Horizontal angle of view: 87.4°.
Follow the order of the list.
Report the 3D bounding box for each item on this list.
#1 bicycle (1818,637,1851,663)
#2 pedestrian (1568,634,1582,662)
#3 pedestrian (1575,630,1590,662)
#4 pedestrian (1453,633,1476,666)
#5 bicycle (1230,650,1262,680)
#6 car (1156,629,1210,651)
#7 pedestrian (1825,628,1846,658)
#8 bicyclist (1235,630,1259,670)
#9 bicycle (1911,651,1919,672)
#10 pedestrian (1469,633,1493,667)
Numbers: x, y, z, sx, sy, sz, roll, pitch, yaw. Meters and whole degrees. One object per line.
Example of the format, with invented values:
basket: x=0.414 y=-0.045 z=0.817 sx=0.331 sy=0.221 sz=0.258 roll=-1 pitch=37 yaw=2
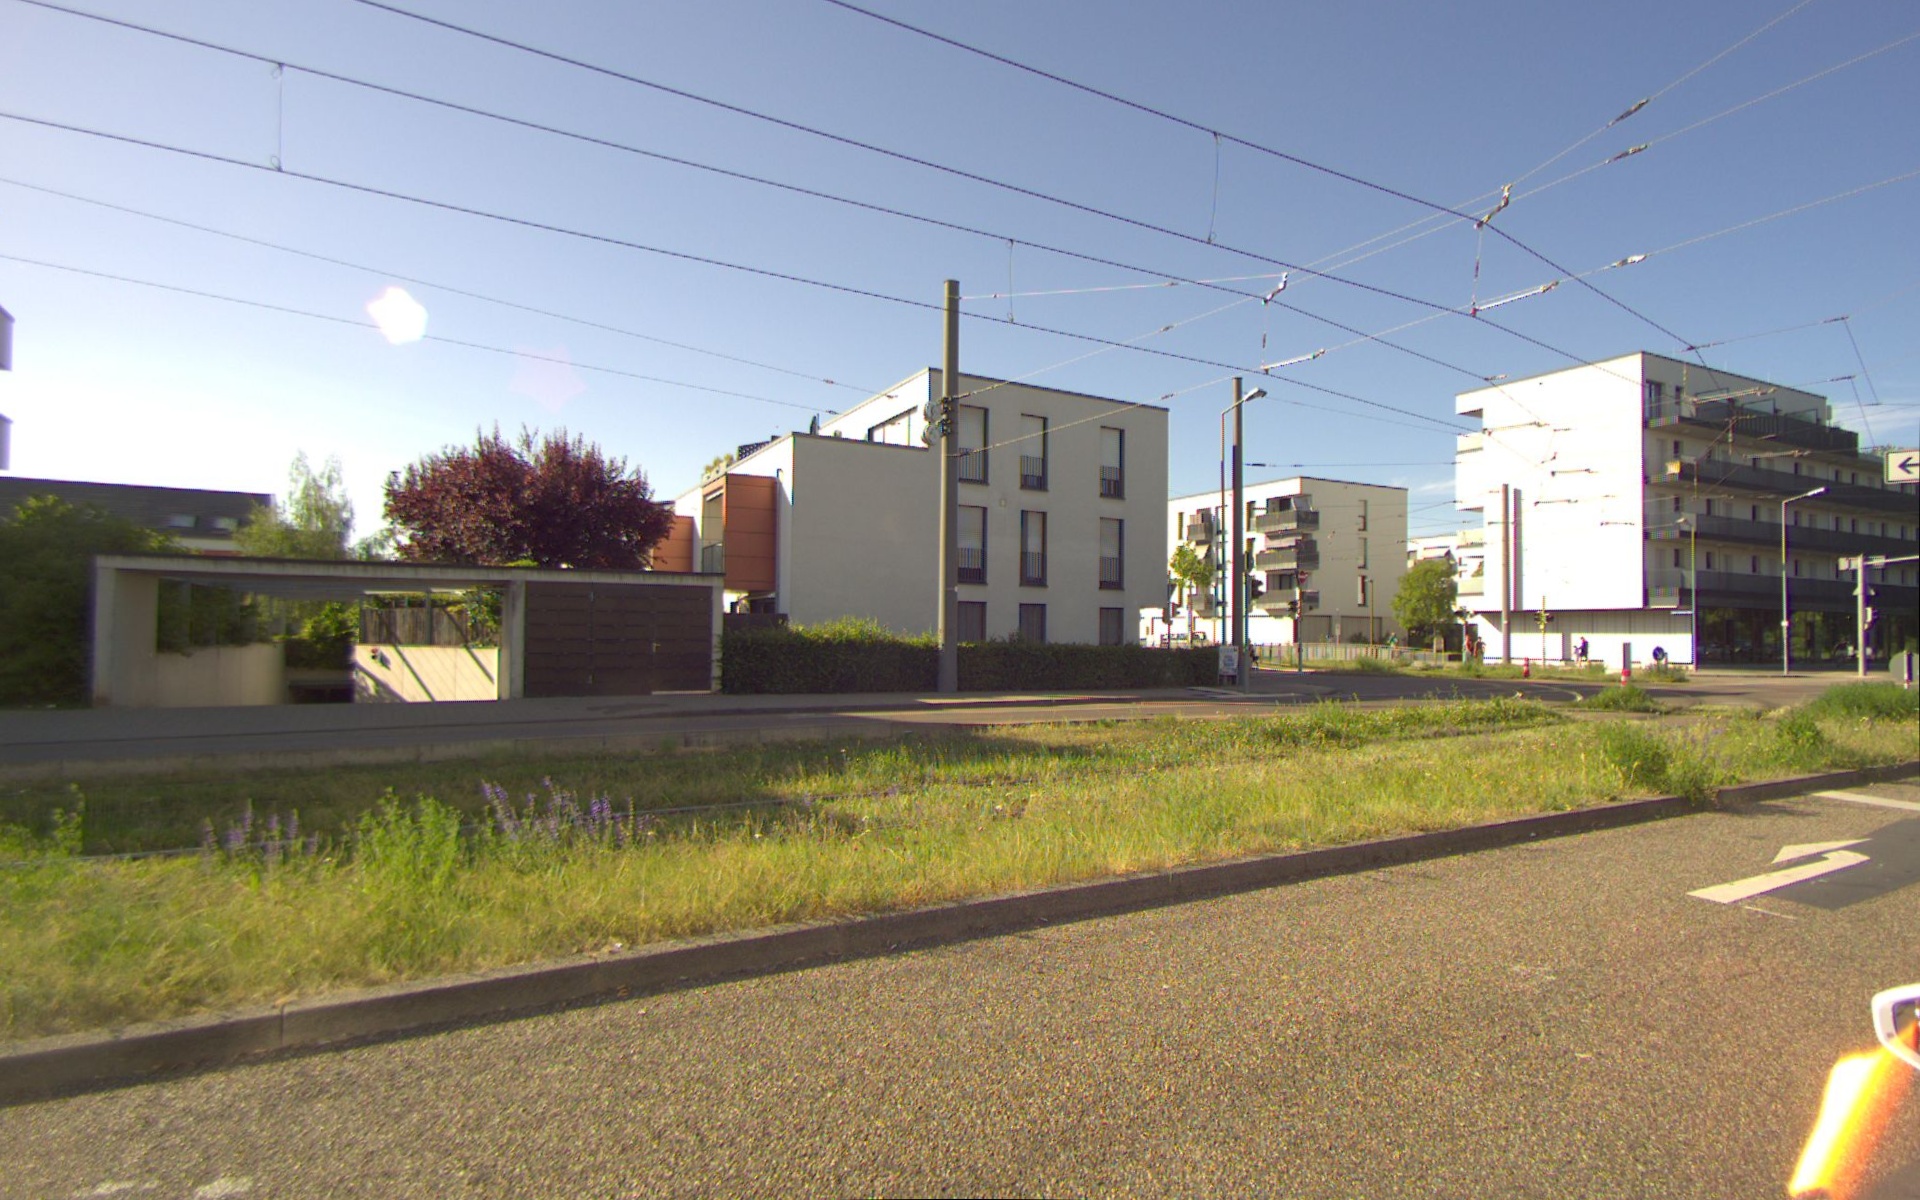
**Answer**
bicycle: x=46.875 y=2.666 z=53.812 sx=1.887 sy=1.350 sz=0.628 roll=2 pitch=0 yaw=-26
pedestrian: x=34.138 y=2.678 z=55.740 sx=0.513 sy=1.523 sz=0.438 roll=2 pitch=0 yaw=-35
pedestrian: x=34.663 y=2.555 z=55.920 sx=0.513 sy=1.767 sz=0.539 roll=2 pitch=0 yaw=-35
pedestrian: x=25.337 y=2.473 z=50.478 sx=0.736 sy=1.626 sz=0.765 roll=2 pitch=0 yaw=-37
bicycle: x=12.081 y=2.737 z=42.395 sx=0.808 sy=1.139 sz=1.856 roll=2 pitch=0 yaw=32
car: x=17.791 y=3.177 z=80.305 sx=1.974 sy=1.595 sz=4.309 roll=2 pitch=0 yaw=-27
pedestrian: x=46.915 y=2.306 z=53.833 sx=0.588 sy=1.529 sz=0.640 roll=2 pitch=0 yaw=-26
bicyclist: x=12.114 y=2.082 z=42.389 sx=0.771 sy=1.635 sz=0.639 roll=2 pitch=0 yaw=32
bicycle: x=46.868 y=2.976 z=48.280 sx=2.397 sy=1.002 sz=0.769 roll=2 pitch=0 yaw=-23
pedestrian: x=25.785 y=2.483 z=49.740 sx=0.736 sy=1.626 sz=0.765 roll=2 pitch=0 yaw=-37
